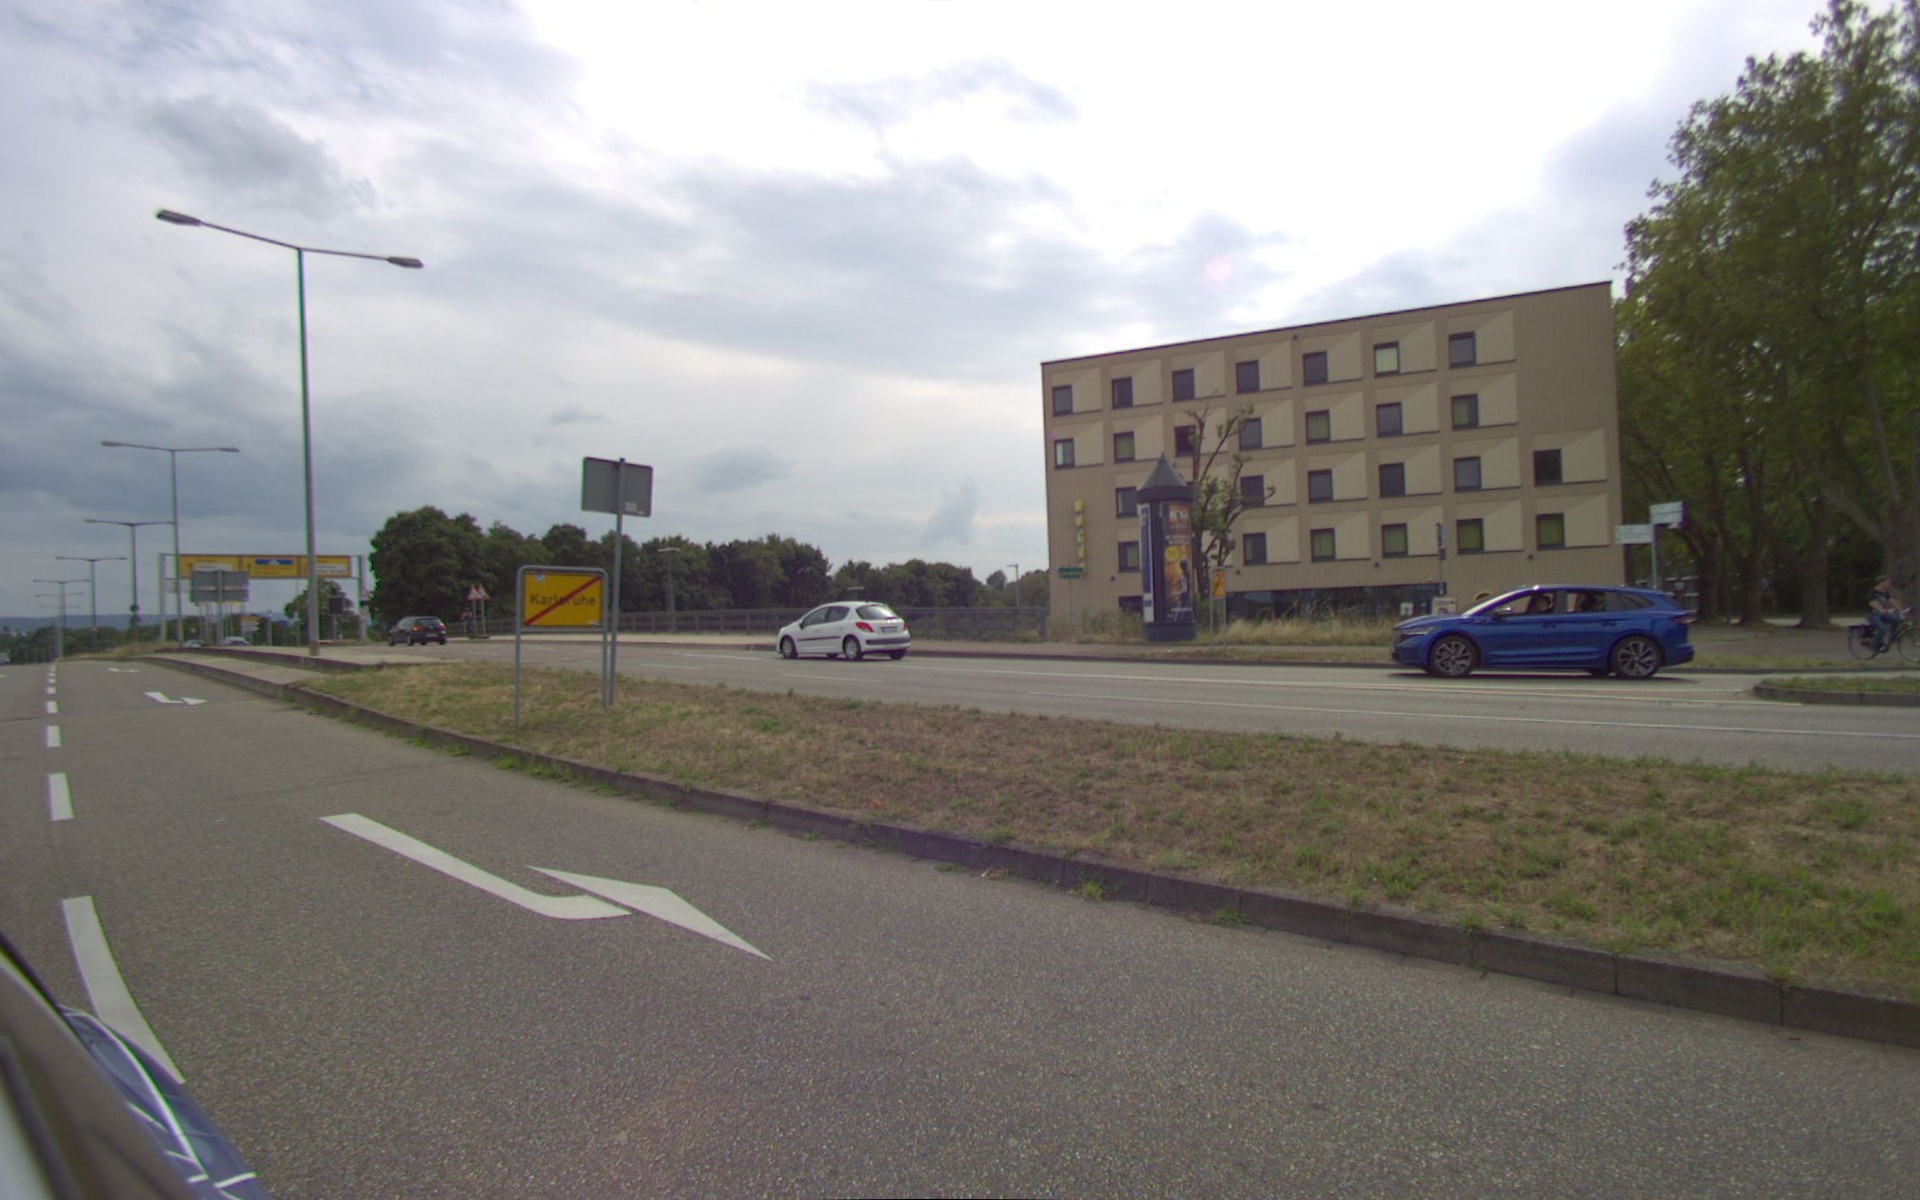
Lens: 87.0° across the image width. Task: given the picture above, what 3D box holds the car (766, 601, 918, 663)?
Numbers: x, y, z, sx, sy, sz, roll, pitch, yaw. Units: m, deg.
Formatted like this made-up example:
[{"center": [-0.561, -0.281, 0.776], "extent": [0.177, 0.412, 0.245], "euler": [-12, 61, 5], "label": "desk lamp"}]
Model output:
[{"center": [-3.085, 0.791, 26.073], "extent": [3.874, 1.456, 1.708], "euler": [-1, 0, 41], "label": "car"}]

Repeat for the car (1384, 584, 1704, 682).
[{"center": [9.980, 0.558, 17.710], "extent": [4.419, 1.572, 1.941], "euler": [-1, 0, 14], "label": "car"}]

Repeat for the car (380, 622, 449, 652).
[{"center": [-27.565, 1.853, 51.128], "extent": [3.998, 1.429, 1.774], "euler": [-2, -1, 41], "label": "car"}]

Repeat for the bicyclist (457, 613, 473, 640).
[{"center": [-31.512, 1.669, 64.376], "extent": [0.676, 1.684, 0.848], "euler": [-1, -1, -42], "label": "bicyclist"}]

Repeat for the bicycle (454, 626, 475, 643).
[{"center": [-31.531, 2.177, 64.406], "extent": [0.676, 1.061, 1.997], "euler": [-1, -1, -42], "label": "bicycle"}]

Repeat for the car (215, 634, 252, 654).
[{"center": [-60.262, 3.635, 83.899], "extent": [1.800, 1.457, 4.355], "euler": [-1, 0, -45], "label": "car"}]

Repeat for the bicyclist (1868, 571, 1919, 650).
[{"center": [19.957, 0.214, 21.328], "extent": [0.731, 1.627, 0.921], "euler": [-1, -1, -3], "label": "bicyclist"}]

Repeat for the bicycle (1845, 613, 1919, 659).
[{"center": [19.955, 0.750, 21.257], "extent": [0.731, 0.916, 2.121], "euler": [-1, -1, -4], "label": "bicycle"}]

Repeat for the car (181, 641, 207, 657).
[{"center": [-74.294, 4.715, 98.185], "extent": [1.597, 1.421, 3.864], "euler": [1, -2, -43], "label": "car"}]
